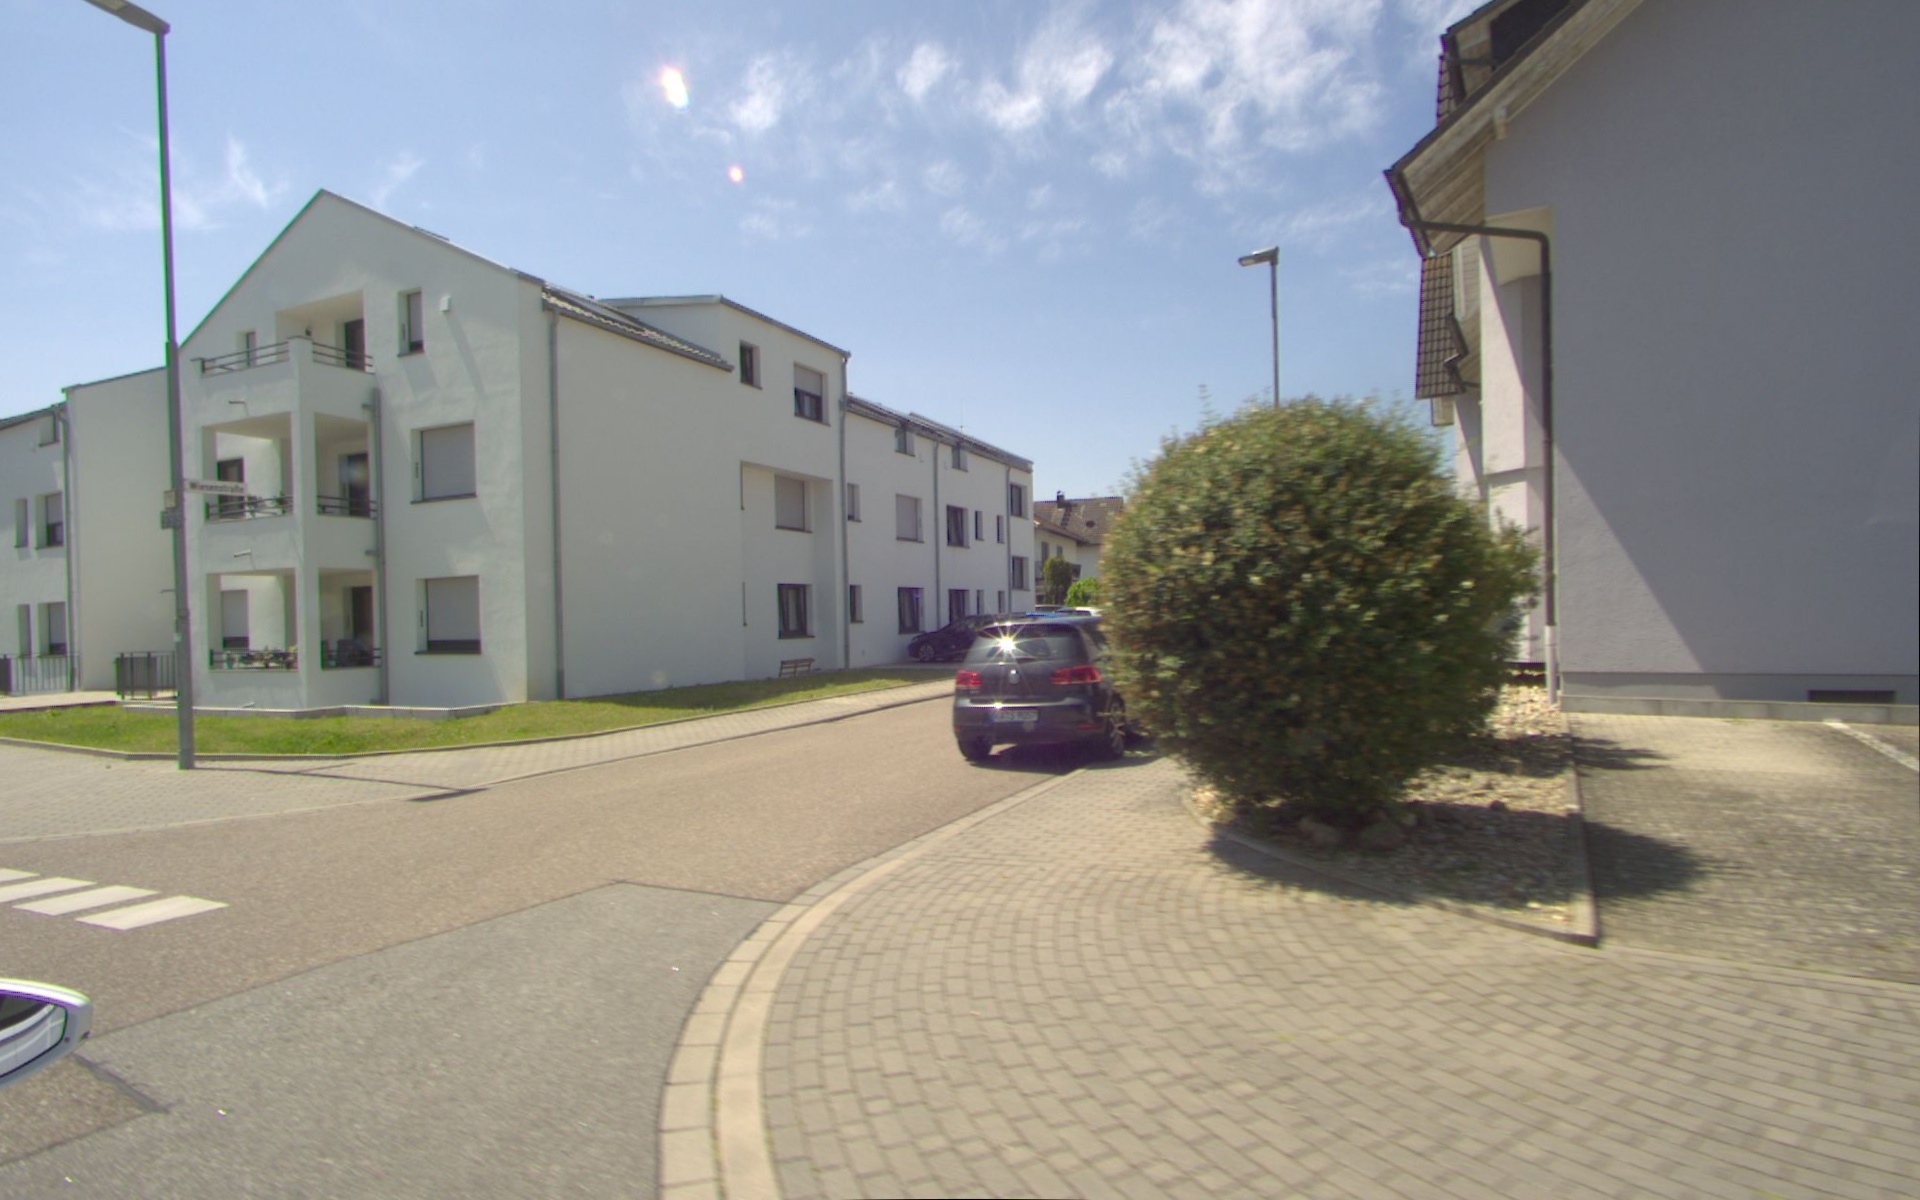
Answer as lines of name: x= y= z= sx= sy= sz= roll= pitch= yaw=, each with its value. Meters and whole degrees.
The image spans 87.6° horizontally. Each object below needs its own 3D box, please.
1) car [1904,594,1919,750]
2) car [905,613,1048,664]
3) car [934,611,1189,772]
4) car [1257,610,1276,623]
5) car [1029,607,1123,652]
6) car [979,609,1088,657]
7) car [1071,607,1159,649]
car: x=8.427 y=0.616 z=6.948 sx=1.639 sy=1.392 sz=4.198 roll=-1 pitch=-1 yaw=28
car: x=0.501 y=1.163 z=30.258 sx=3.942 sy=1.431 sz=1.750 roll=-2 pitch=-1 yaw=25
car: x=1.356 y=0.903 z=11.573 sx=1.727 sy=1.486 sz=3.992 roll=-1 pitch=-1 yaw=25
car: x=32.368 y=1.747 z=105.815 sx=1.737 sy=1.360 sz=3.973 roll=-1 pitch=-2 yaw=19
car: x=4.276 y=1.085 z=36.934 sx=3.164 sy=1.597 sz=1.458 roll=-2 pitch=0 yaw=24
car: x=2.366 y=1.059 z=32.025 sx=3.164 sy=1.460 sz=1.458 roll=-2 pitch=-1 yaw=24
car: x=6.160 y=1.116 z=39.825 sx=3.164 sy=1.597 sz=1.458 roll=-2 pitch=0 yaw=24
